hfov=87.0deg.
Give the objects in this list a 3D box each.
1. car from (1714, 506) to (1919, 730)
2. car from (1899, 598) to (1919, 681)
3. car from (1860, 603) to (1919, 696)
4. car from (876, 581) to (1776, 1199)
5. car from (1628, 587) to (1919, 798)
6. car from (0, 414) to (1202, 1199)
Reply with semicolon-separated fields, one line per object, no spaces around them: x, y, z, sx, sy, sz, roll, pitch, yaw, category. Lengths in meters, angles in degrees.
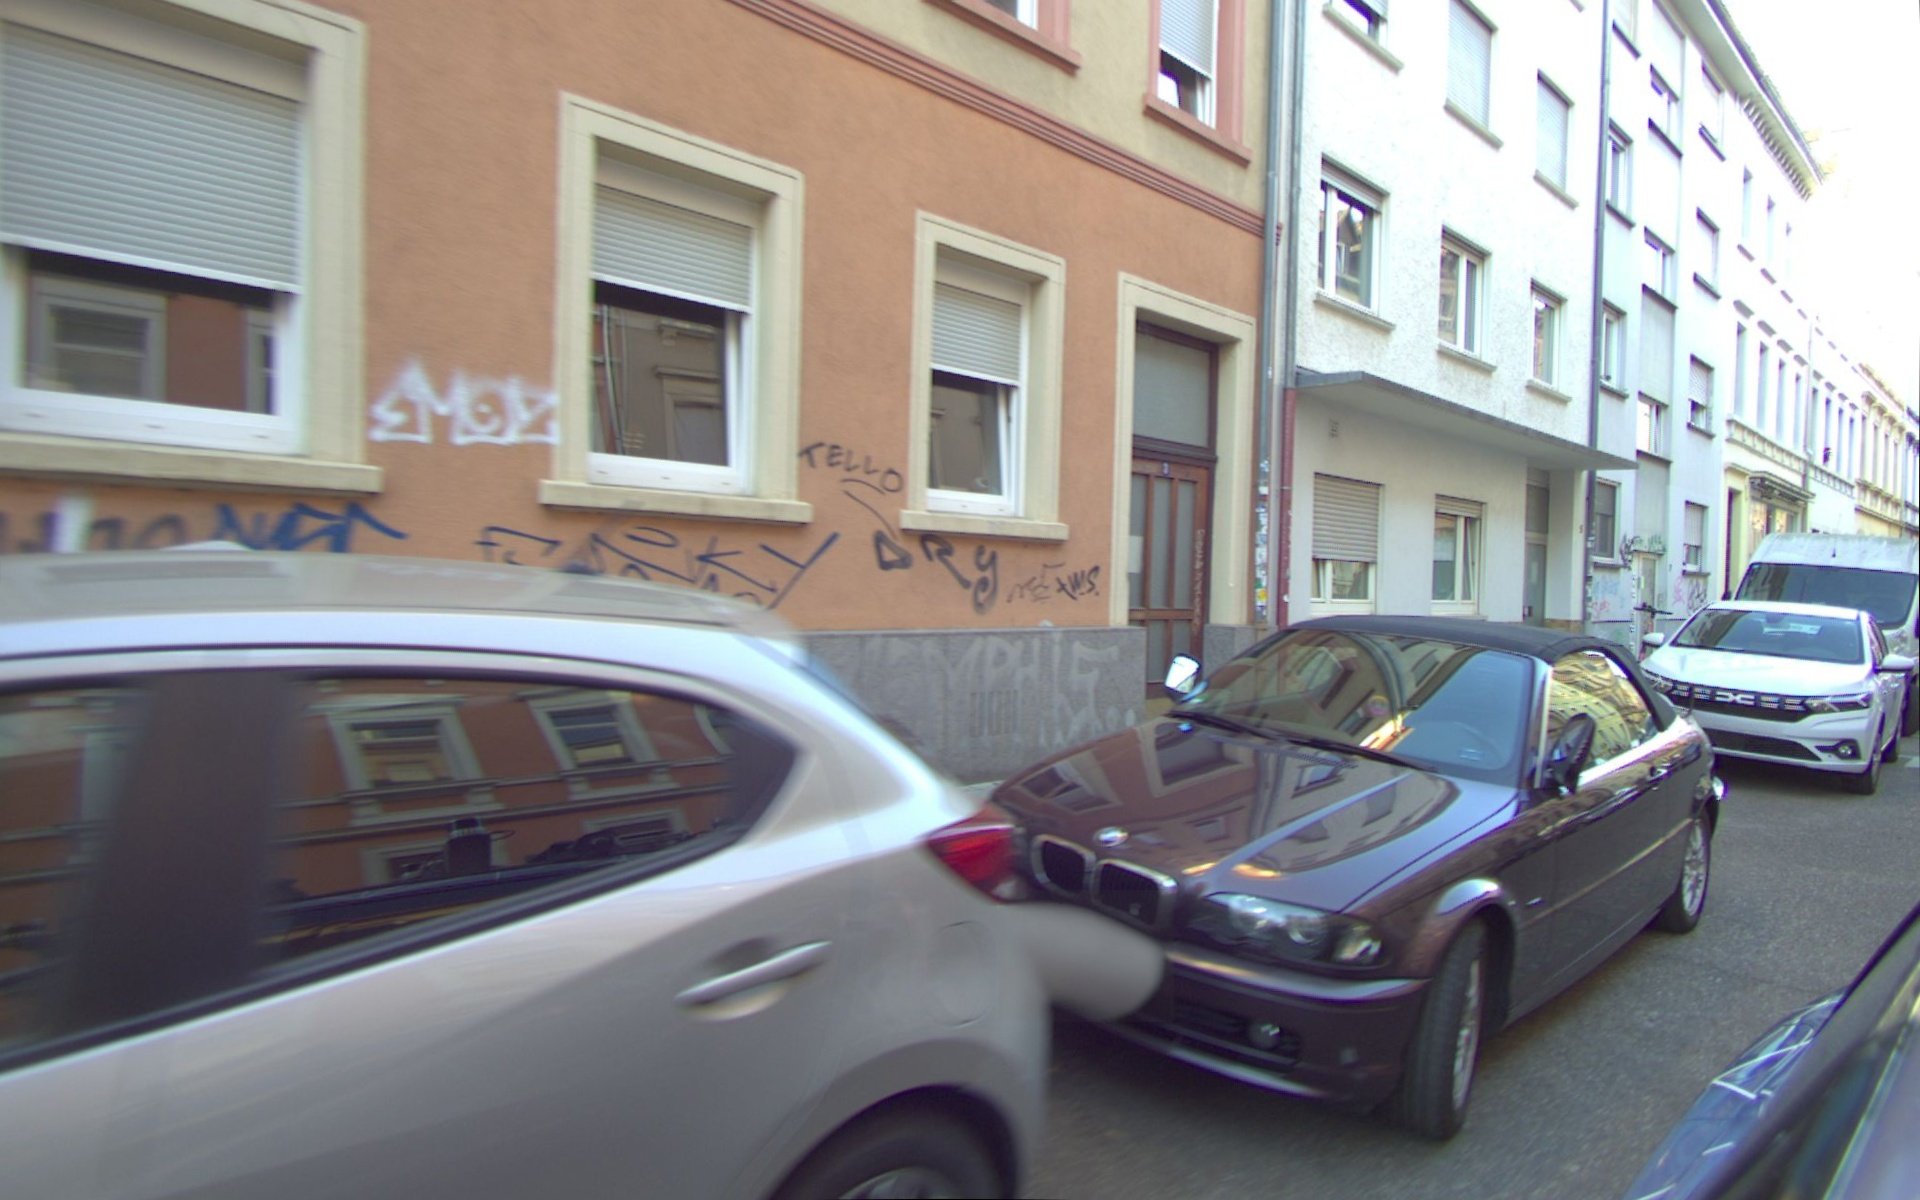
12.655;0.204;14.106;5.914;2.545;2.049;0;0;-39;car
20.173;0.754;20.204;3.792;1.585;1.682;0;0;-41;car
16.611;0.785;17.071;3.792;1.461;1.682;0;0;-41;car
1.930;0.663;4.333;4.417;1.412;1.770;0;0;-42;car
7.751;0.690;9.515;3.796;1.579;1.680;0;0;-44;car
-1.623;0.632;1.428;4.114;1.617;1.683;0;0;-39;car
